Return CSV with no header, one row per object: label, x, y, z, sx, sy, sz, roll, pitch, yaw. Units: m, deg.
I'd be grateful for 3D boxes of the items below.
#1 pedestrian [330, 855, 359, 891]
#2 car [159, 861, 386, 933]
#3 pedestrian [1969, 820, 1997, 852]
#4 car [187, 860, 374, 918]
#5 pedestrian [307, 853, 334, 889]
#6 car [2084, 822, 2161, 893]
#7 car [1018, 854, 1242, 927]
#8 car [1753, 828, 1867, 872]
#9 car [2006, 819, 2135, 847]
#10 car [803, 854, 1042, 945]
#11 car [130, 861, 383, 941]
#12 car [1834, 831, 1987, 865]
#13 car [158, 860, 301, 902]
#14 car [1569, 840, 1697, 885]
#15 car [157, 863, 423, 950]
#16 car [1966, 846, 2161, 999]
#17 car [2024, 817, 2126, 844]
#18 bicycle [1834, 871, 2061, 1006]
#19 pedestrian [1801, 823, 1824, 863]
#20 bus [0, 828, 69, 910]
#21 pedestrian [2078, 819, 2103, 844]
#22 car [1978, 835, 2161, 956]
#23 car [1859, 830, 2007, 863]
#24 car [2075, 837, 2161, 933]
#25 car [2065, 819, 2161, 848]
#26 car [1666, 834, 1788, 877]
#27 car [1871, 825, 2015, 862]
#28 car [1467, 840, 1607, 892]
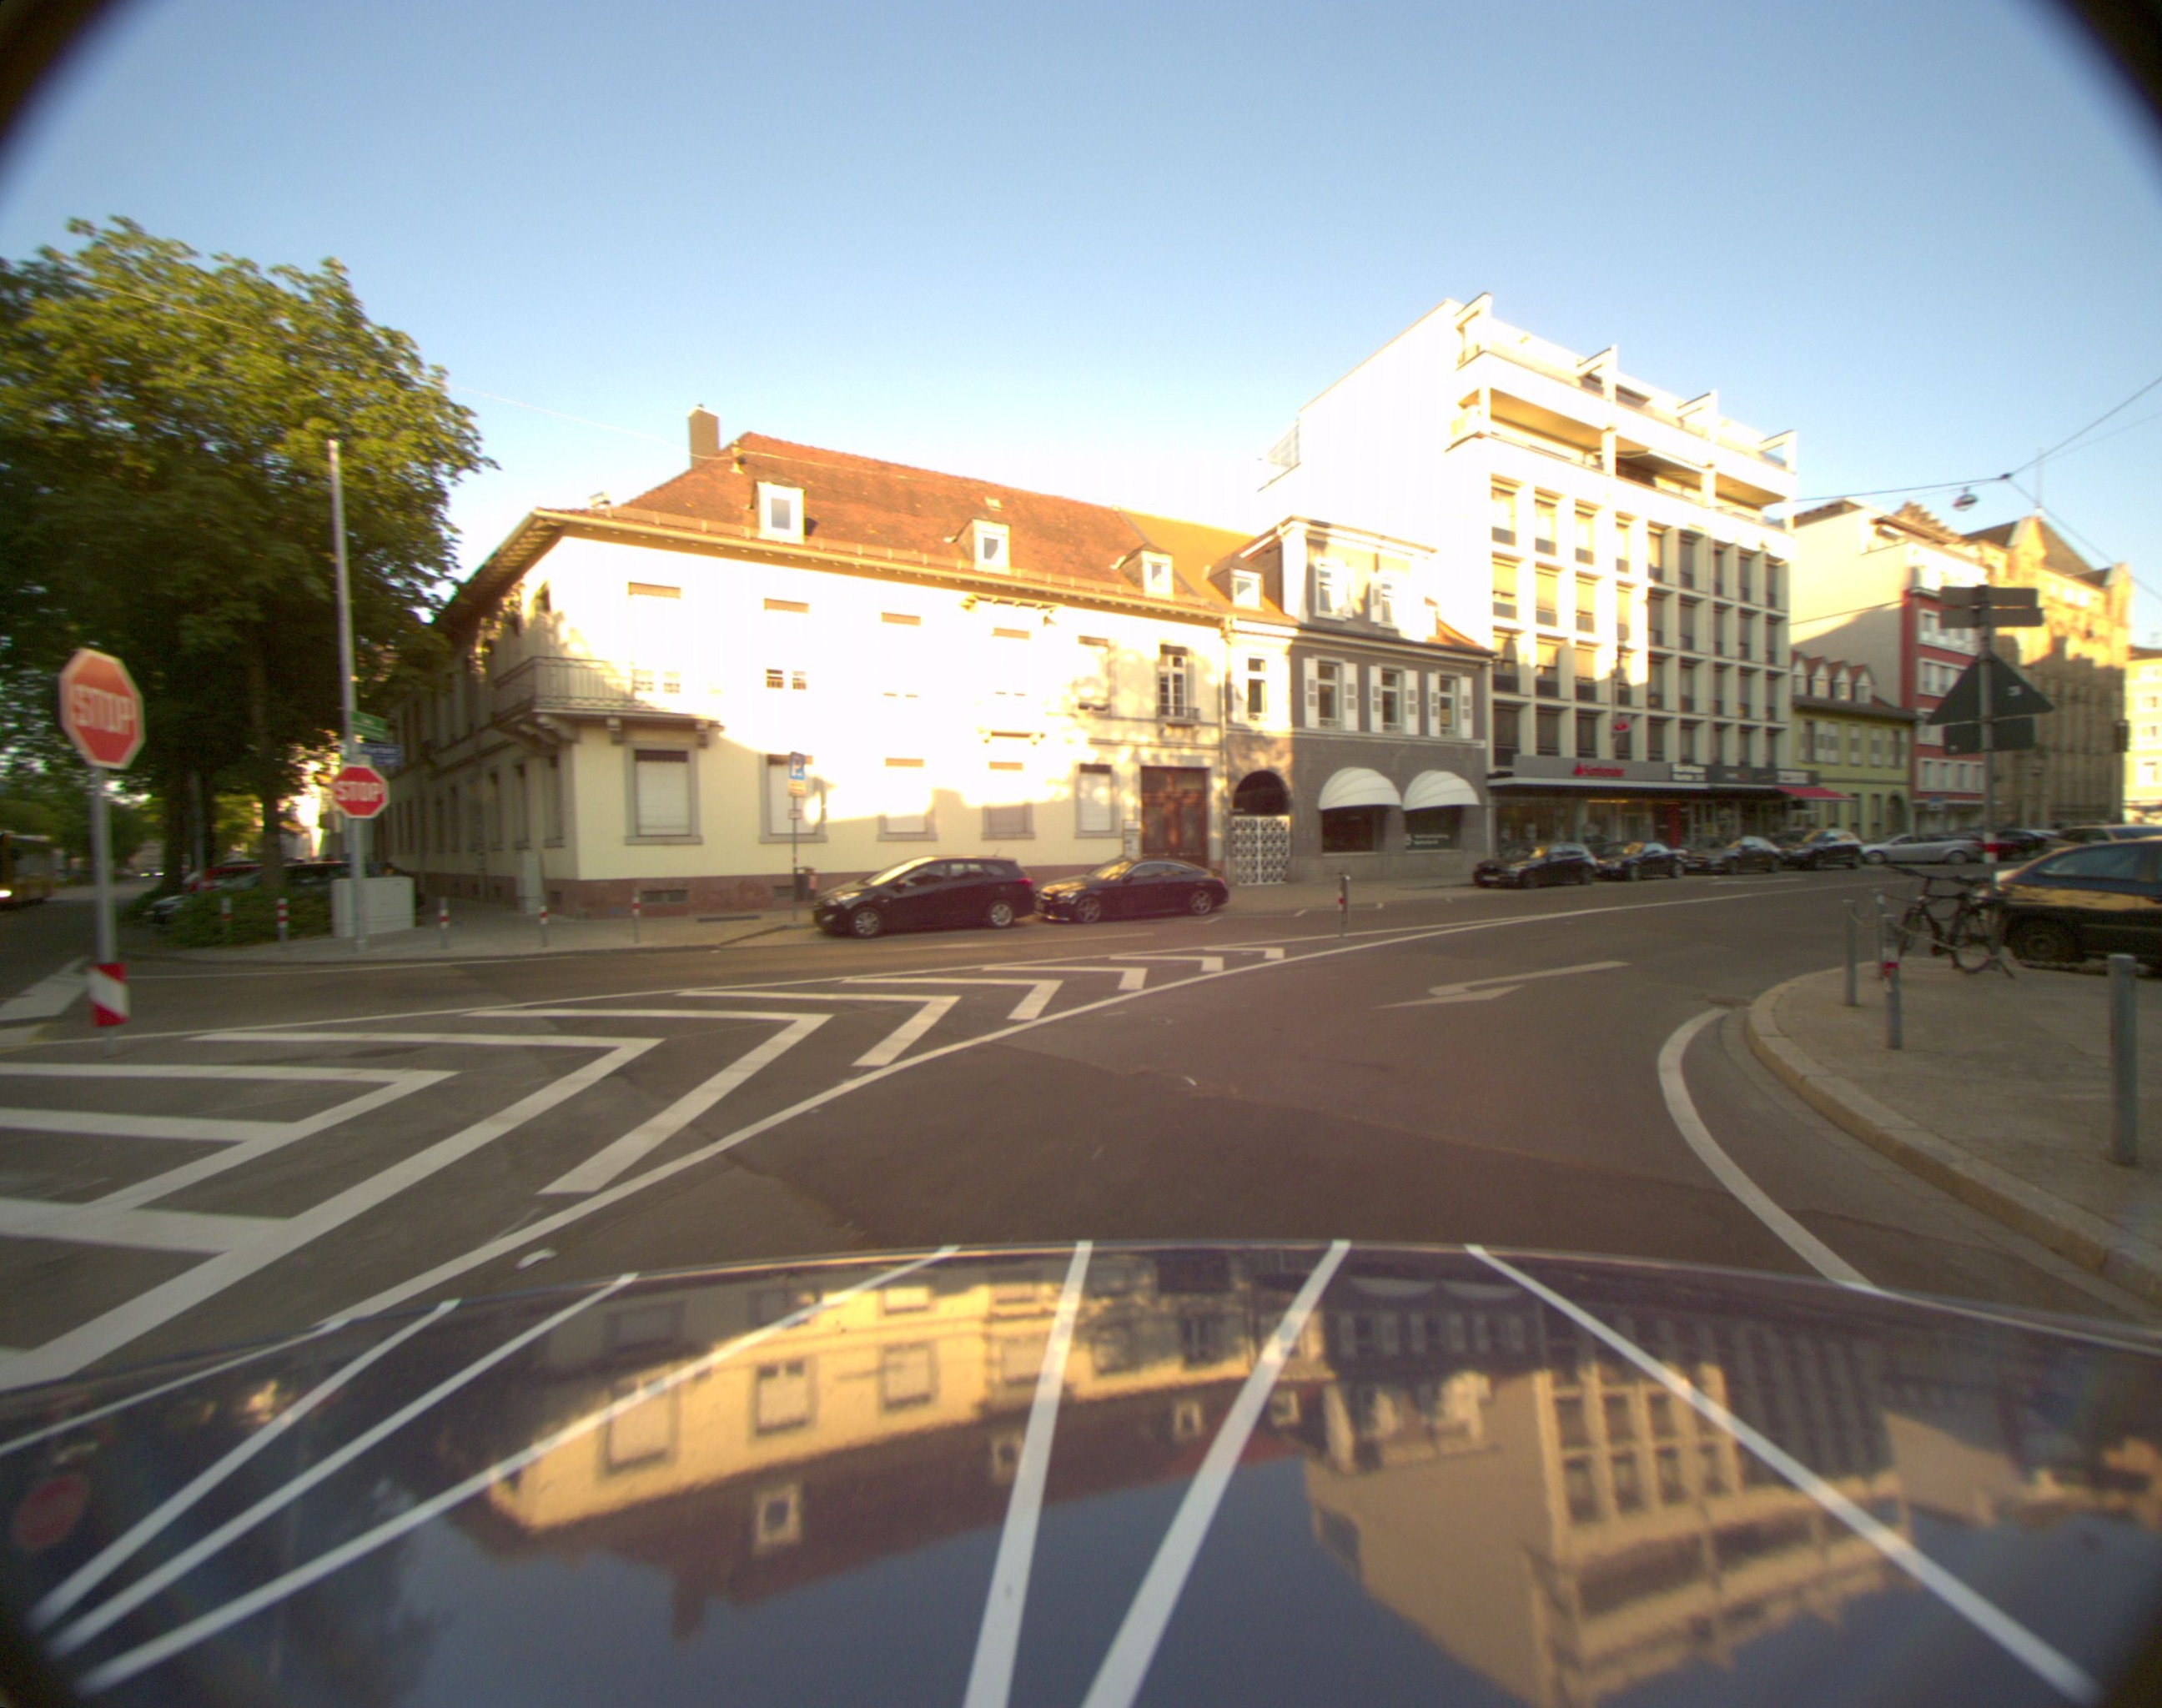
pedestrian,-37.499,0.955,38.692,1.018,1.761,0.897,0,2,40
car,-21.509,1.057,20.364,1.718,1.606,4.008,0,1,39
pedestrian,56.064,-1.108,47.241,1.013,1.933,0.849,-2,1,-21
car,-25.750,1.058,24.561,1.718,1.606,4.008,0,1,39
pedestrian,-38.053,0.818,38.028,1.018,1.761,0.808,0,2,40
car,25.707,0.044,16.693,1.852,1.619,4.051,-2,0,-5
car,1.156,0.768,17.488,4.863,1.386,1.775,-2,0,-25
car,29.364,-0.199,30.606,4.368,1.649,1.829,-2,1,-24
car,57.186,-1.184,44.043,4.216,1.465,1.757,-1,1,34
car,-3.199,0.831,15.469,4.436,1.533,1.803,-1,0,-26
car,-19.902,1.046,18.519,1.718,1.606,4.008,0,1,39
car,36.541,-0.254,33.606,4.218,1.431,1.757,-1,1,25
car,-36.931,1.109,33.041,1.718,1.606,4.008,0,1,39
car,19.112,0.245,26.275,4.507,1.379,1.744,-2,1,-27
car,-17.808,1.079,17.273,1.823,1.606,4.008,0,1,39
car,11.175,0.614,6.858,1.740,1.452,3.864,-2,-2,-2
car,72.809,-1.693,55.755,4.216,1.871,1.758,-1,1,39
bicycle,8.291,0.759,7.279,1.805,1.119,0.727,-2,-1,-18
pedestrian,35.291,-0.521,36.655,0.720,1.876,0.611,-2,2,-27
bus,-44.549,0.632,31.045,12.046,2.984,2.718,0,3,41
pedestrian,73.453,-1.603,55.284,1.013,1.789,0.849,-2,1,-21
car,14.257,0.491,9.034,1.767,1.503,4.630,-2,-1,2
car,39.041,-0.339,34.981,4.217,1.431,1.757,-1,1,30
car,17.228,0.498,10.365,1.709,1.439,4.250,-1,1,-1
car,65.874,-1.269,48.255,3.826,1.743,1.758,-1,1,39
car,24.376,0.020,28.652,4.564,1.438,1.744,-2,1,-25
car,41.258,-0.509,36.525,4.217,1.667,1.757,-1,1,30
car,14.351,0.327,23.885,4.255,1.438,1.744,-2,1,-26
